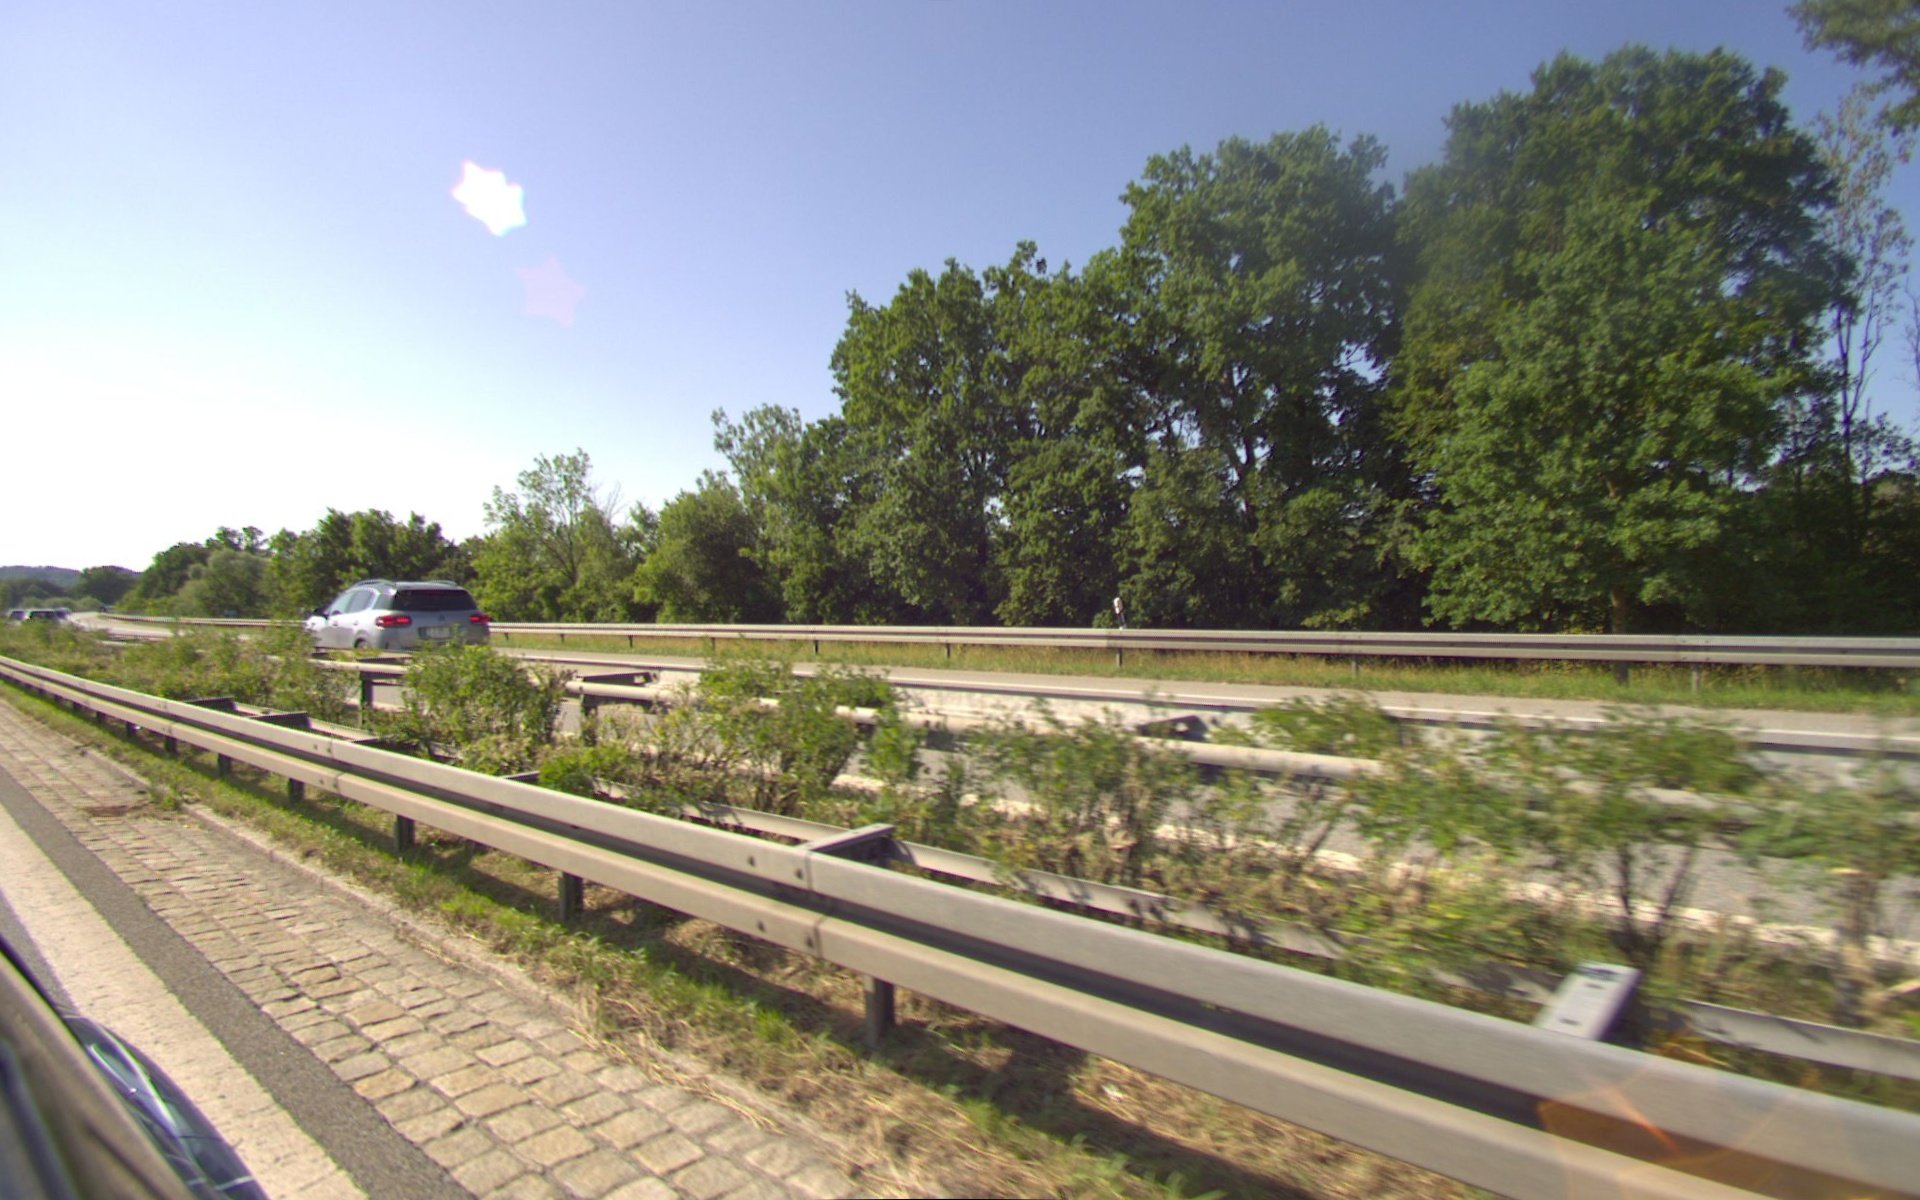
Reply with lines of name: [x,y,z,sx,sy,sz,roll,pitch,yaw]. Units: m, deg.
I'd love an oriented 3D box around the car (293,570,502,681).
car: [-9.395,0.413,16.791,3.999,1.619,1.823,-1,-2,42]

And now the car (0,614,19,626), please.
car: [-118.569,2.520,126.096,1.908,1.516,4.797,2,-2,-43]

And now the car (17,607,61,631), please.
car: [-58.732,1.242,64.505,4.245,1.461,1.642,-1,-3,42]

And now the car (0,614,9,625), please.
car: [-141.547,2.862,149.114,4.795,1.516,1.909,-1,-2,45]

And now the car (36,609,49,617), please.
car: [-176.851,2.438,195.006,1.799,1.445,4.656,0,-1,-42]
